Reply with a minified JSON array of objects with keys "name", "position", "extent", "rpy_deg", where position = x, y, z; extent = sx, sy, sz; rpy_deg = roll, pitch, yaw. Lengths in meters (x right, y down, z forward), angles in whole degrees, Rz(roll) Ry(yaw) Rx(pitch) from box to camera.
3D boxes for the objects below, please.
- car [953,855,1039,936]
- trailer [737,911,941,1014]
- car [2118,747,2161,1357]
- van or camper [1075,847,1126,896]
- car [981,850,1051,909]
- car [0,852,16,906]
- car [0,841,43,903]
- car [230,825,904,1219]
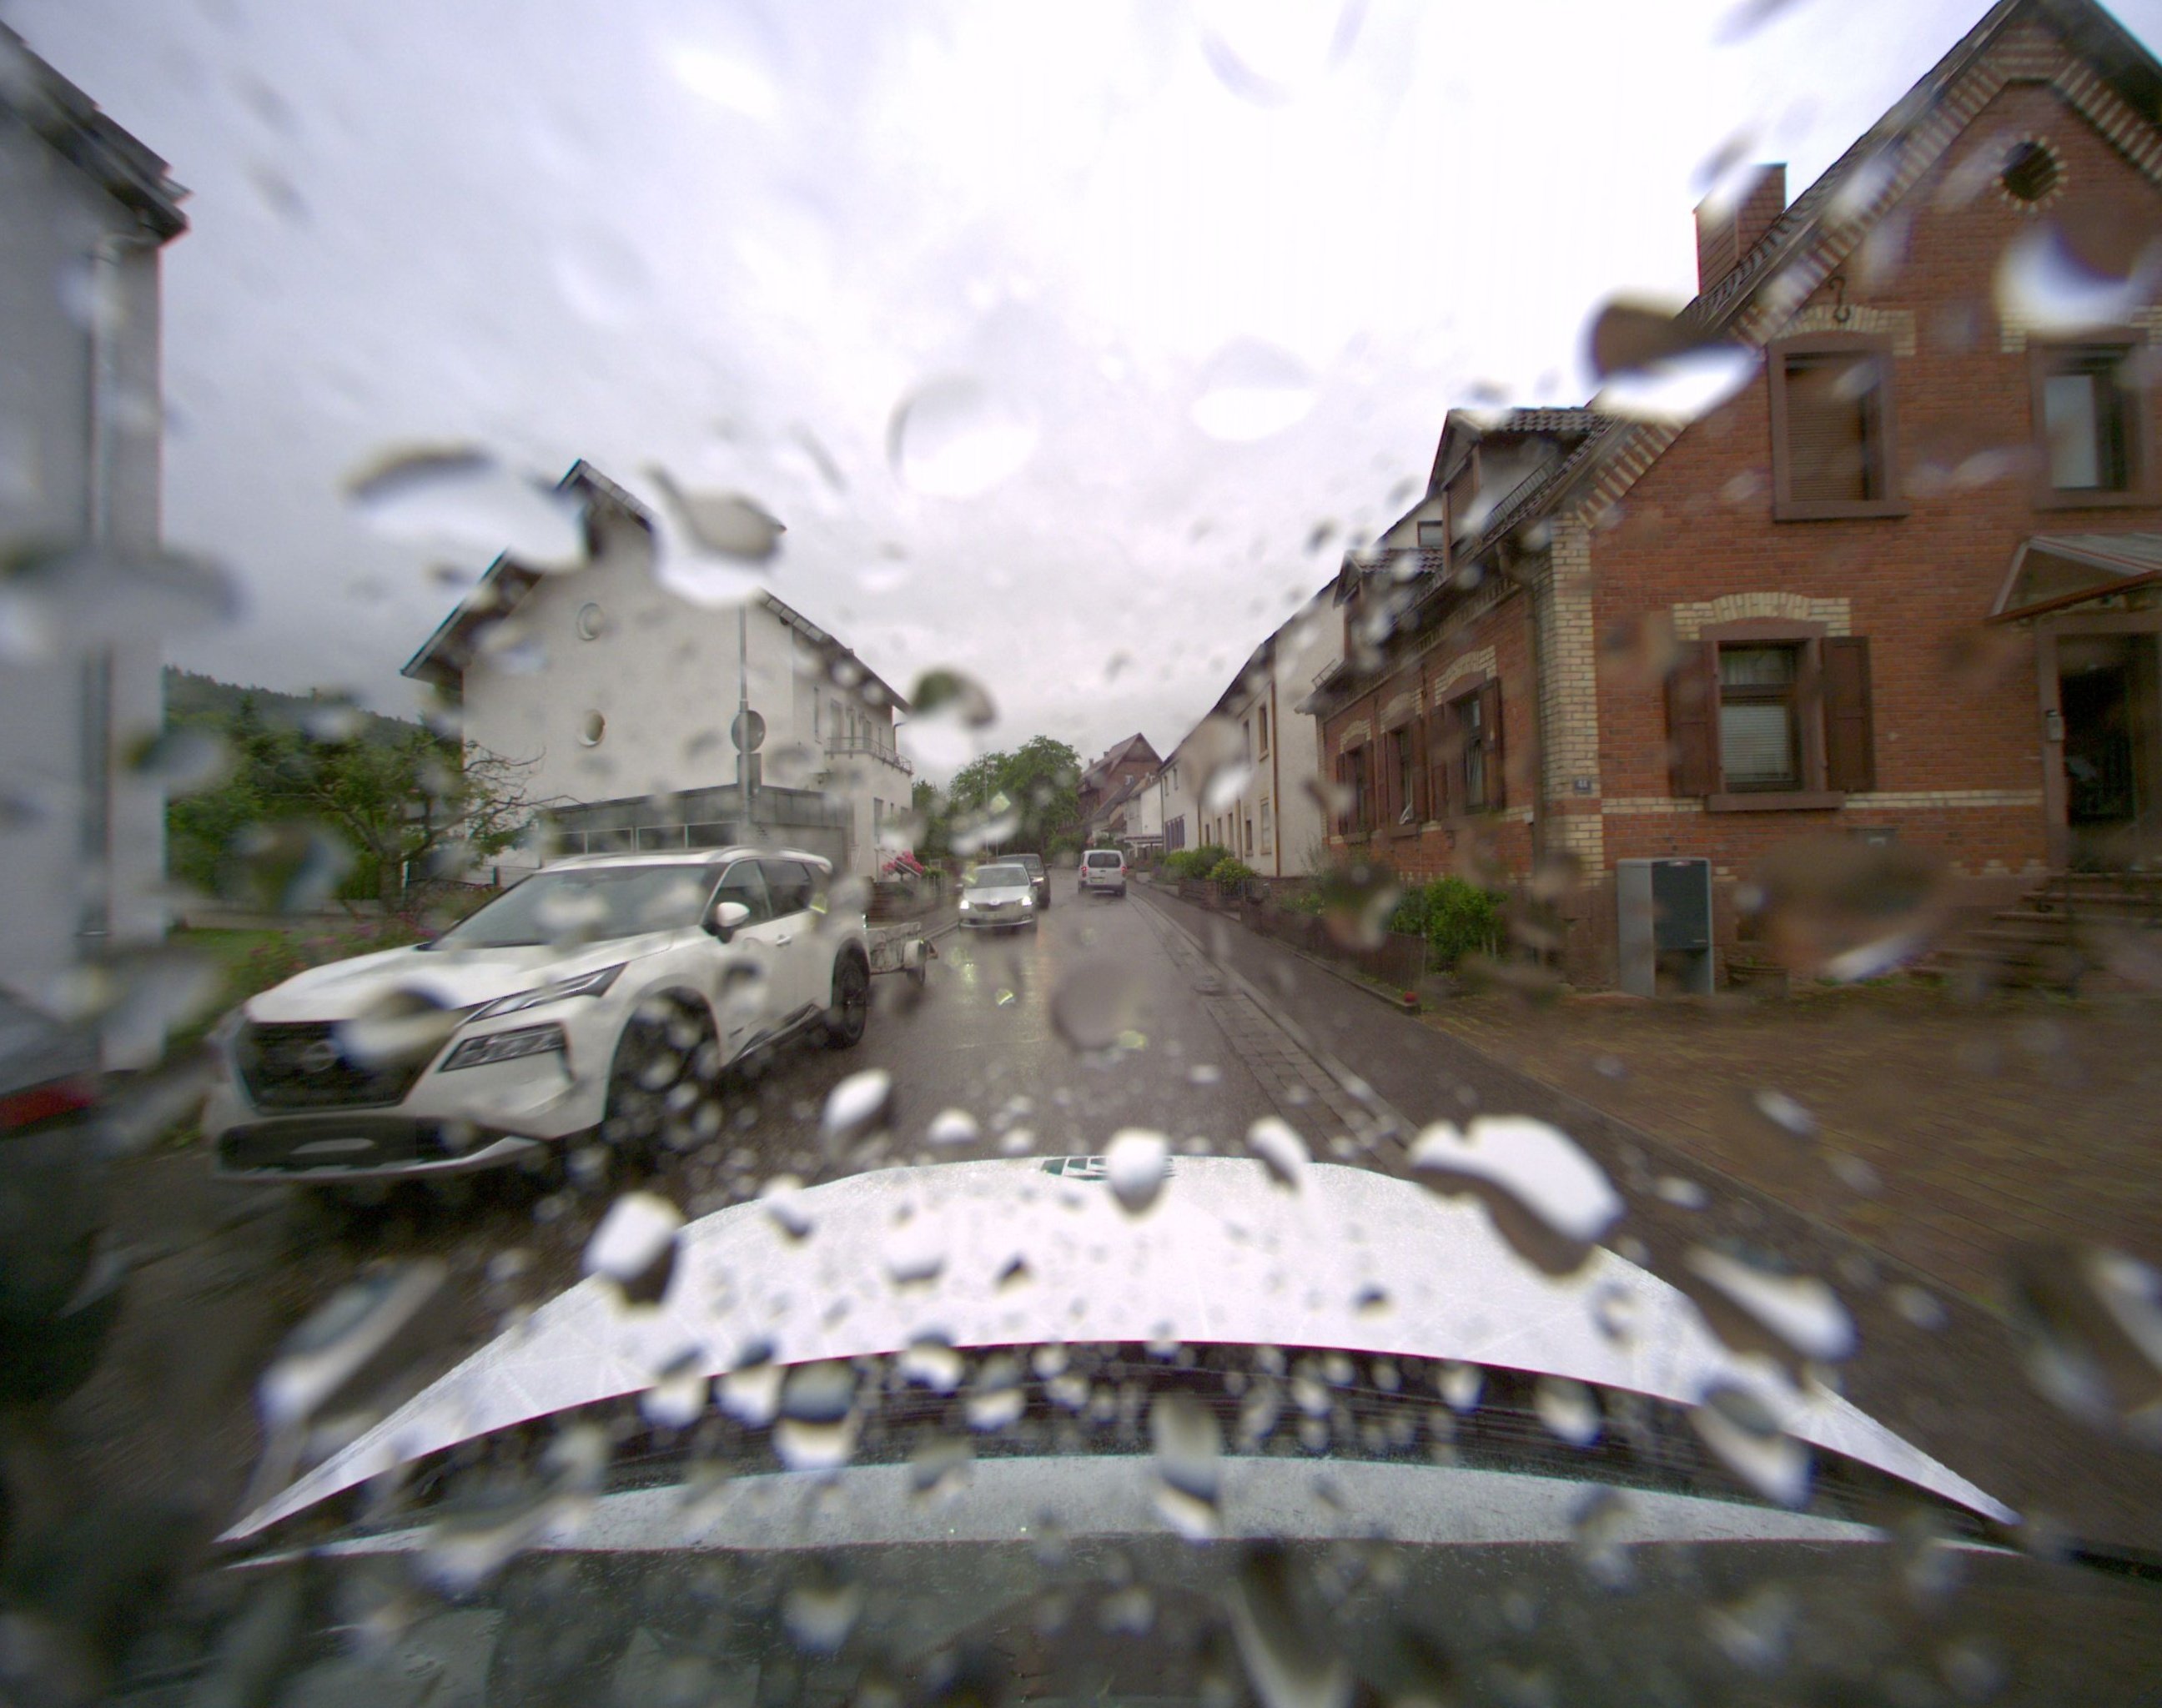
[{"name":"car","position":[-1.837,0.848,18.521],"extent":[1.685,1.564,3.929],"rpy_deg":[-2,0,-3]},{"name":"trailer","position":[-2.662,1.182,9.518],"extent":[1.478,0.829,2.676],"rpy_deg":[-3,-2,1]},{"name":"car","position":[4.794,0.569,0.748],"extent":[1.884,1.590,4.573],"rpy_deg":[0,1,-32]},{"name":"van or camper","position":[0.808,0.665,33.138],"extent":[1.936,1.851,4.001],"rpy_deg":[-1,0,2]},{"name":"car","position":[-2.004,0.743,26.520],"extent":[1.988,1.677,4.779],"rpy_deg":[-2,0,-2]},{"name":"car","position":[-30.613,0.692,20.777],"extent":[3.979,1.420,1.997],"rpy_deg":[-1,-2,-4]},{"name":"car","position":[-26.782,0.437,18.346],"extent":[3.979,1.420,1.997],"rpy_deg":[-1,0,-4]},{"name":"car","position":[-2.776,0.787,5.809],"extent":[1.741,1.636,4.421],"rpy_deg":[-4,-1,3]}]
